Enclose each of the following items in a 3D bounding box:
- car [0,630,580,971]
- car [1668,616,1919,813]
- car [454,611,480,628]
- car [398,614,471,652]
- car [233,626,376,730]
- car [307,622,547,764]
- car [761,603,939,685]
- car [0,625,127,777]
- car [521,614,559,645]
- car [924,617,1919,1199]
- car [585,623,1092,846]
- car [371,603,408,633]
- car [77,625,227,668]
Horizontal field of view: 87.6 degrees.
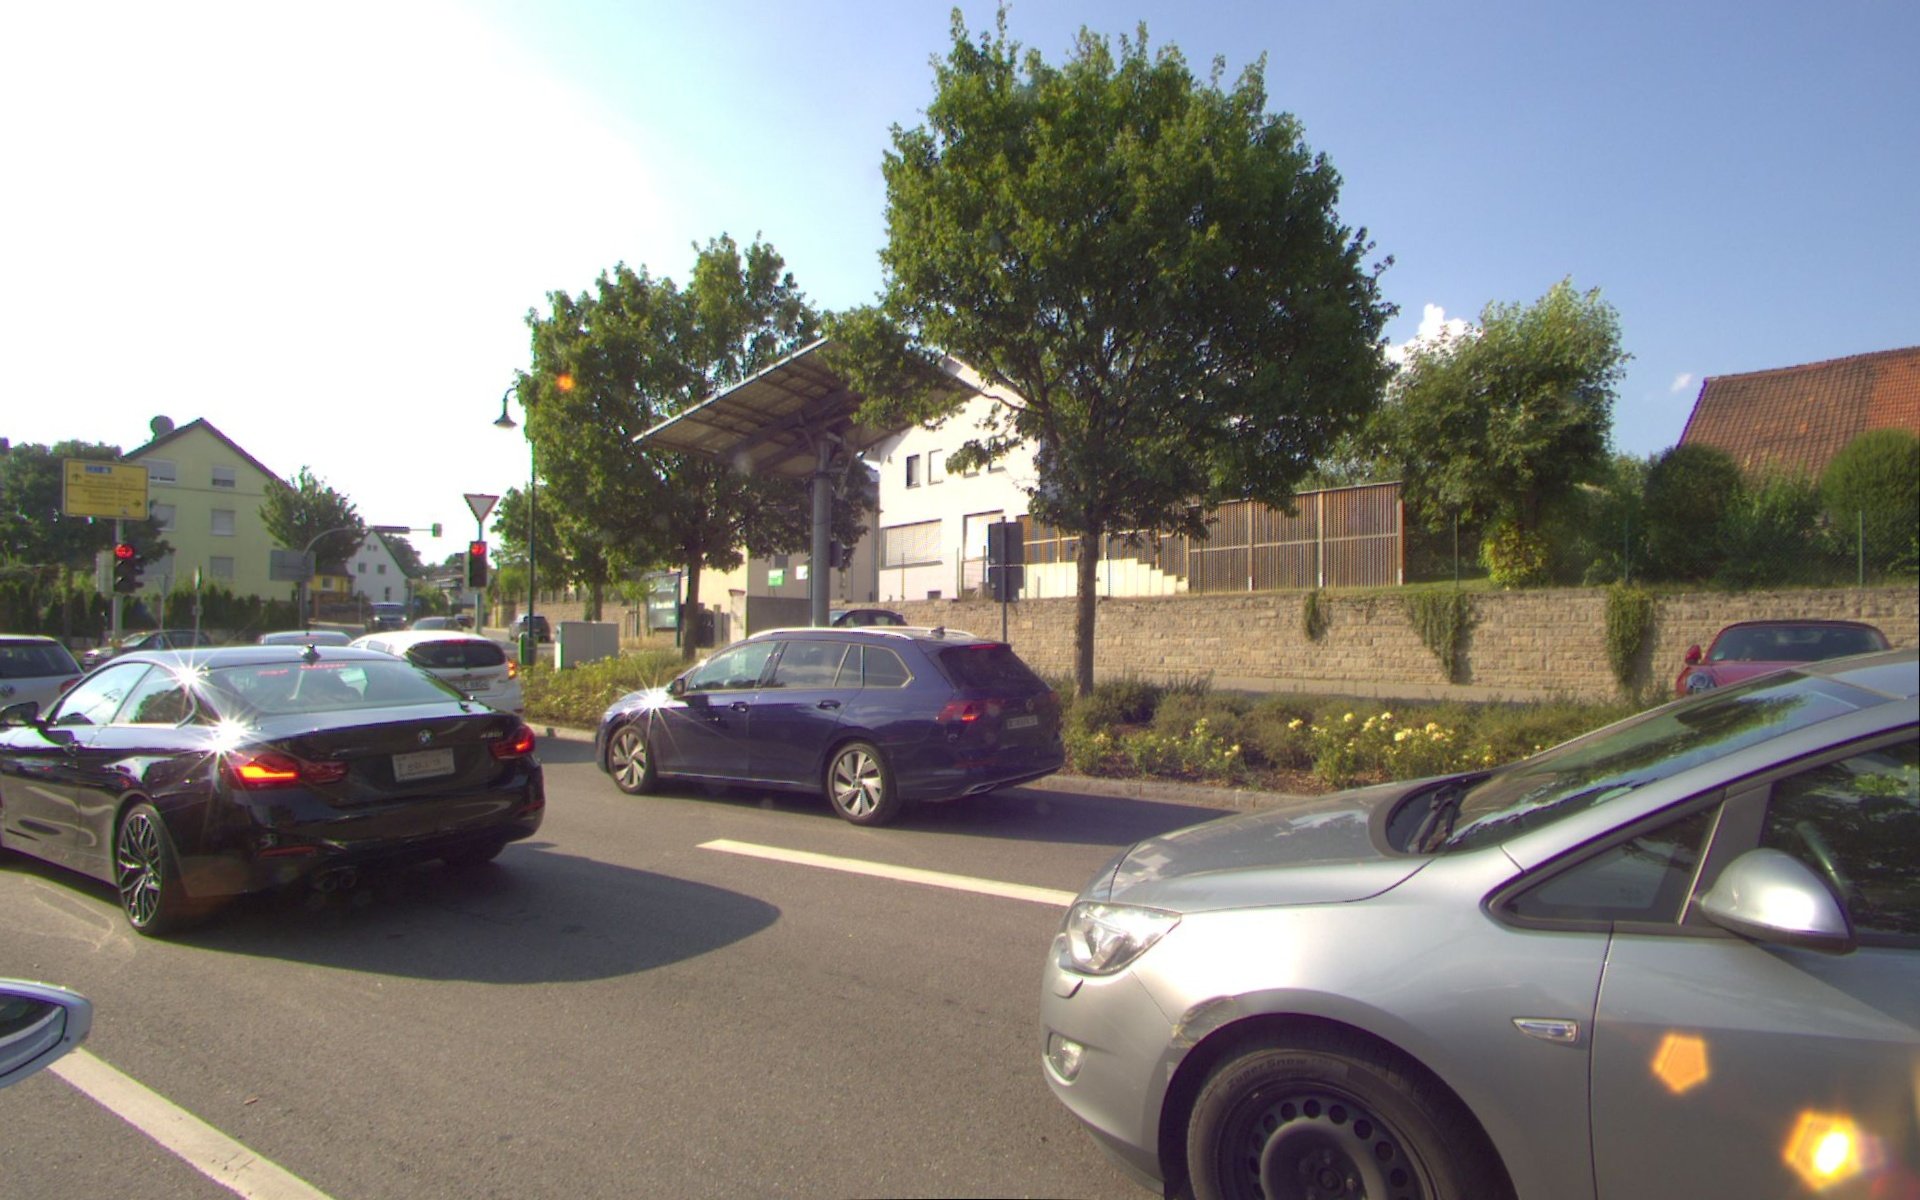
[{"bbox_3d":[-4.431,0.915,6.187,4.220,1.416,1.758,-1,0,33],"label":"car"},{"bbox_3d":[8.229,0.952,9.744,1.758,1.510,4.120,-1,-2,41],"label":"car"},{"bbox_3d":[-51.676,2.038,105.000,1.938,1.701,4.205,0,-1,-20],"label":"car"},{"bbox_3d":[-24.373,1.546,46.606,1.814,1.662,4.429,1,-2,-11],"label":"car"},{"bbox_3d":[-11.748,1.269,17.815,1.643,1.562,4.362,-1,0,-40],"label":"car"},{"bbox_3d":[-6.913,1.080,12.888,3.278,1.562,1.611,-1,0,40],"label":"car"},{"bbox_3d":[-2.372,0.958,22.298,1.758,1.653,3.800,-1,-2,40],"label":"car"},{"bbox_3d":[-10.801,1.011,10.780,3.848,1.444,1.758,-1,0,33],"label":"car"},{"bbox_3d":[-24.555,1.715,58.470,1.940,1.701,4.200,0,-1,-24],"label":"car"},{"bbox_3d":[2.177,0.784,2.162,4.256,1.472,1.758,-1,0,31],"label":"car"},{"bbox_3d":[-1.171,0.949,8.657,4.259,1.472,1.757,-1,0,34],"label":"car"},{"bbox_3d":[-35.411,1.163,62.259,1.821,1.761,4.763,1,-2,-28],"label":"car"},{"bbox_3d":[-30.066,1.711,37.366,1.821,1.508,3.983,-1,-2,30],"label":"car"}]
